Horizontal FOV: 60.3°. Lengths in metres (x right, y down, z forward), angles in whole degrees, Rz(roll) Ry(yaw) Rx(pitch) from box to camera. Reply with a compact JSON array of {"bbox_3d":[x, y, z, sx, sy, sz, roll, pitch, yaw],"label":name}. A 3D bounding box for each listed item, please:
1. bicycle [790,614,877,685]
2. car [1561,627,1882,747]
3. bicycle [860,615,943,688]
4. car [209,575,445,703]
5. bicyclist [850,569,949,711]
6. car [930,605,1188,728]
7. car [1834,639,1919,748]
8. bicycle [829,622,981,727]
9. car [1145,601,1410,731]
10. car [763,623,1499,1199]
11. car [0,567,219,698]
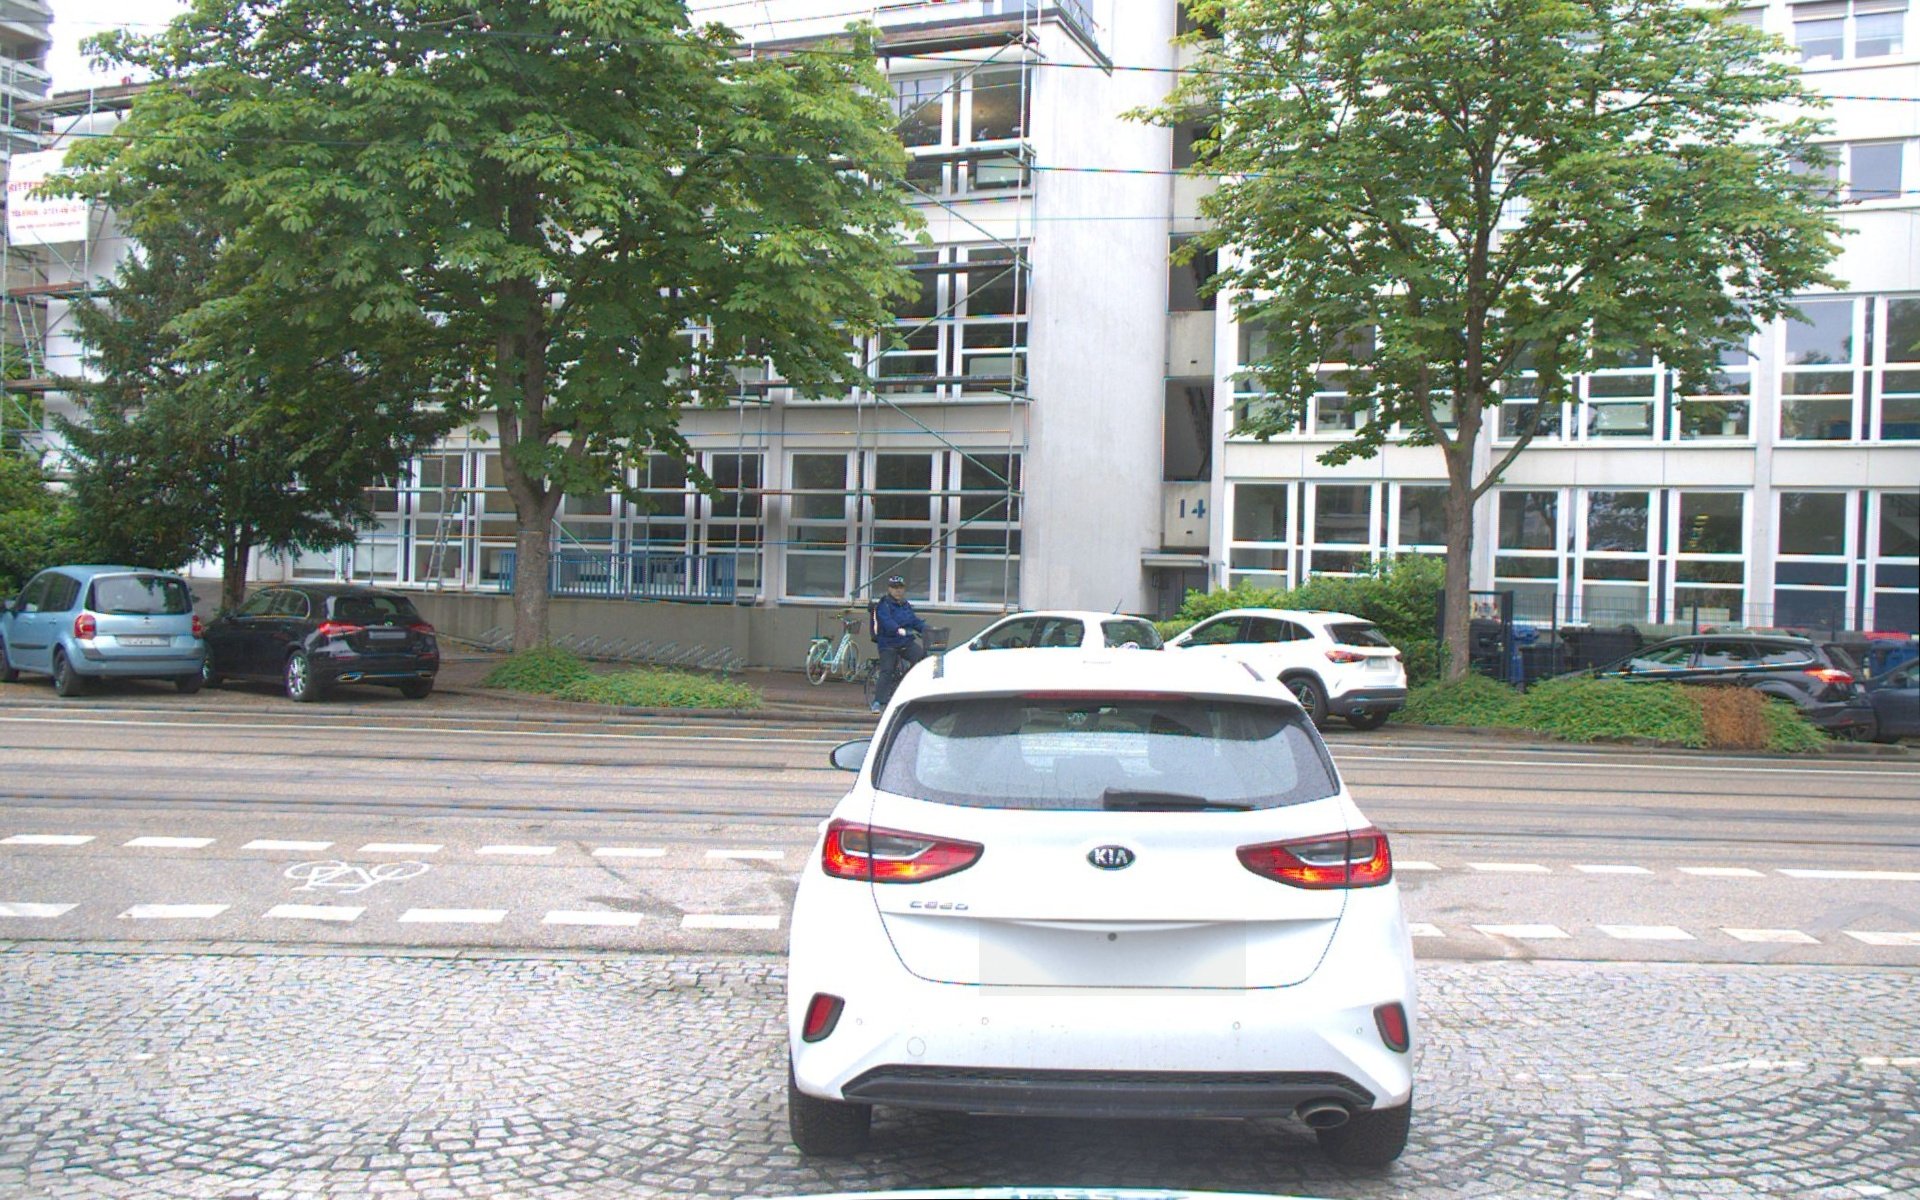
[{"bbox_3d":[-2.186,0.837,28.934,0.631,1.093,2.313,2,2,19],"label":"bicycle"},{"bbox_3d":[10.814,1.172,23.613,3.881,1.499,1.665,1,0,40],"label":"car"},{"bbox_3d":[-0.984,0.857,28.438,0.631,1.093,2.313,2,2,19],"label":"bicycle"},{"bbox_3d":[-8.334,0.463,21.673,3.279,1.537,1.608,1,0,43],"label":"car"},{"bbox_3d":[-0.764,0.488,20.861,0.882,1.727,0.828,1,0,44],"label":"bicyclist"},{"bbox_3d":[1.295,0.851,22.491,1.545,1.499,3.352,1,0,-44],"label":"car"},{"bbox_3d":[14.281,1.336,23.204,3.331,1.499,1.407,1,0,43],"label":"car"},{"bbox_3d":[-0.711,0.913,20.791,1.883,1.194,0.816,2,0,44],"label":"bicycle"},{"bbox_3d":[4.365,0.862,23.012,1.545,1.646,3.352,1,0,-44],"label":"car"},{"bbox_3d":[0.487,0.844,5.936,1.738,1.458,3.979,1,-1,2],"label":"car"},{"bbox_3d":[-11.184,0.378,21.581,3.279,1.564,1.608,1,0,43],"label":"car"}]
